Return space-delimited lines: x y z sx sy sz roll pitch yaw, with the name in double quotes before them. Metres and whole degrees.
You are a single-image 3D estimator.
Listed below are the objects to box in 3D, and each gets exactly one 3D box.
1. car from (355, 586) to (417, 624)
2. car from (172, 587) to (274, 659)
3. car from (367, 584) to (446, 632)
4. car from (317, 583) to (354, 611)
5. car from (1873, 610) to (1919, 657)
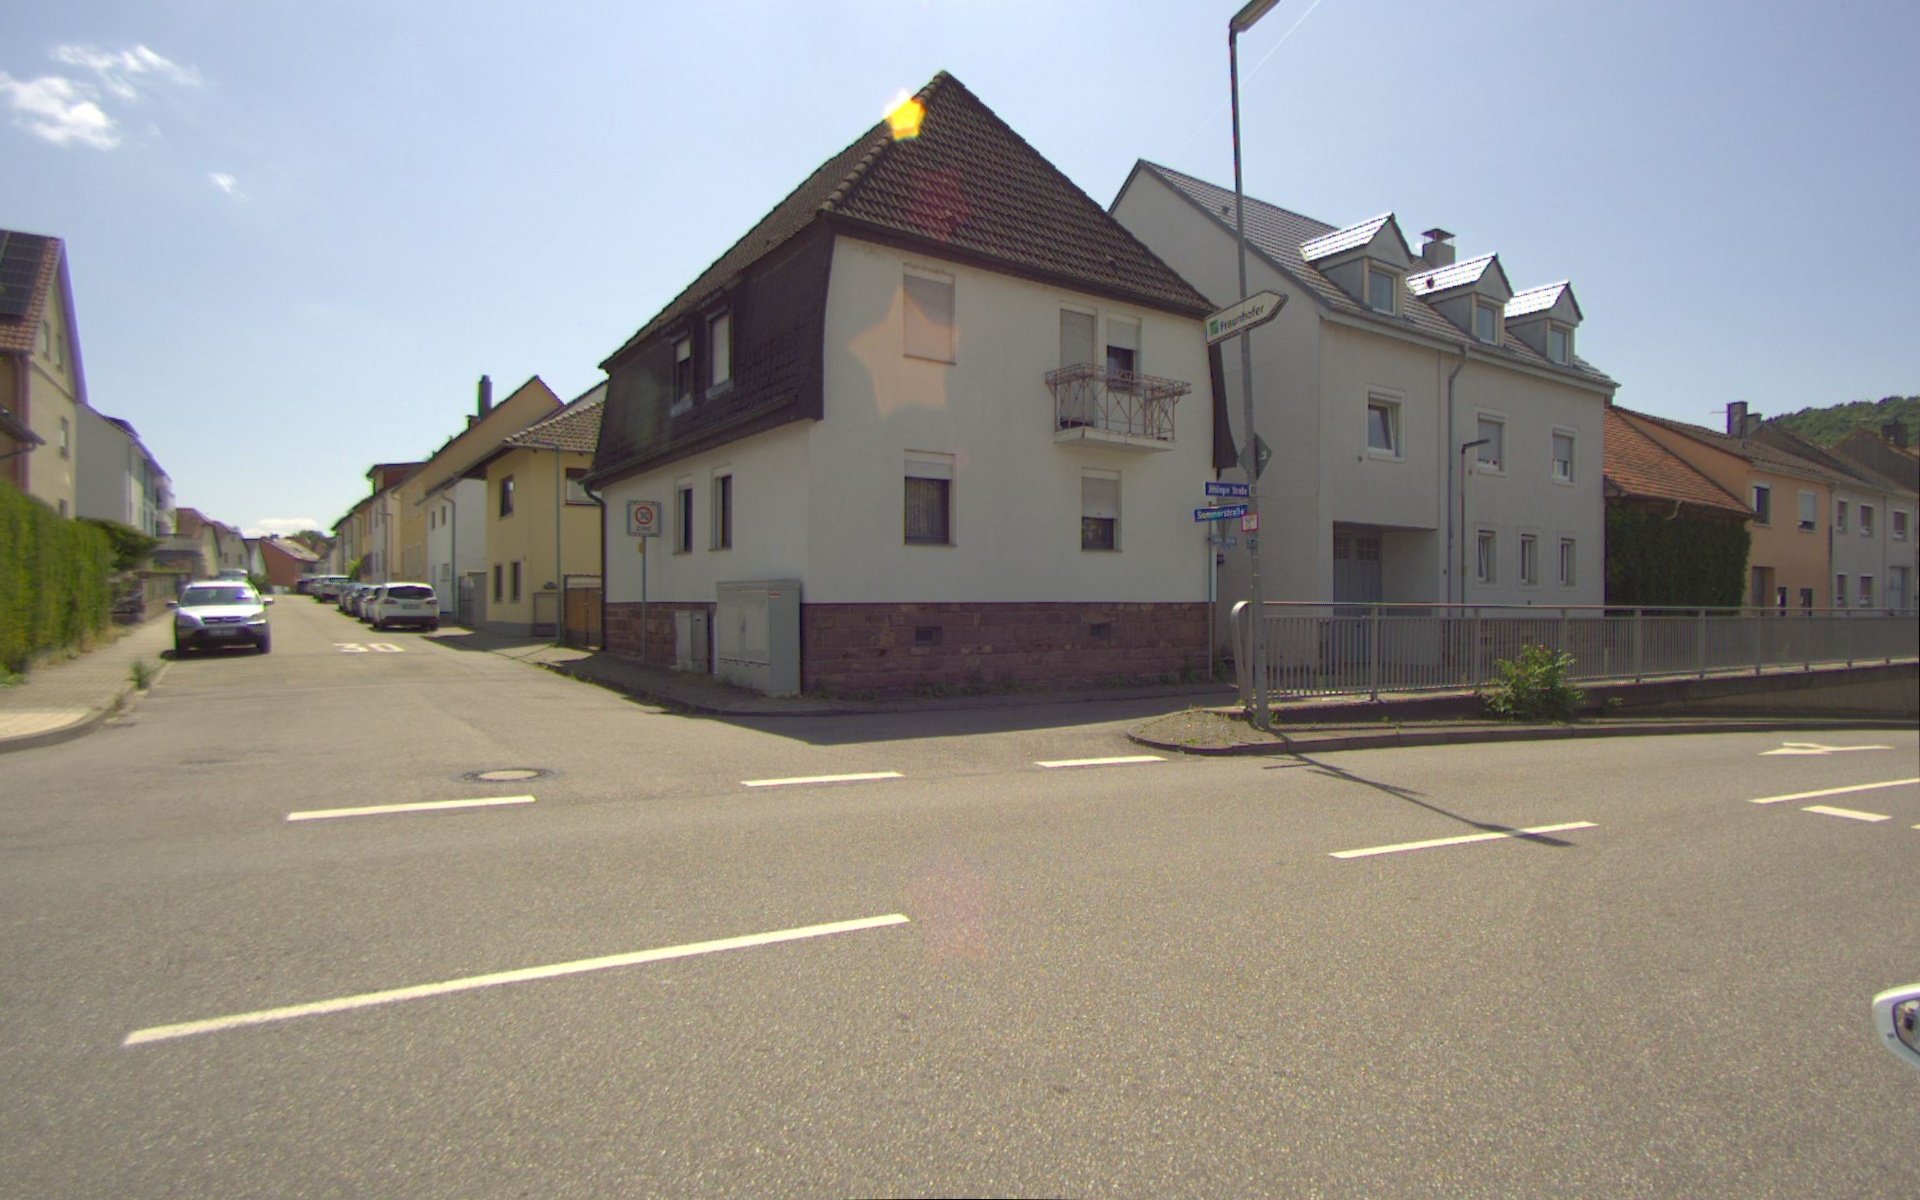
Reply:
"car" -23.754 0.171 41.488 1.760 1.461 3.958 2 0 -36
"car" -17.366 0.468 23.694 1.774 1.487 3.734 -2 2 -36
"car" -19.806 0.259 35.873 1.936 1.617 3.958 2 0 -37
"car" -38.244 -0.201 61.475 1.628 1.591 3.958 2 0 -36
"car" 30.871 1.093 31.923 4.348 1.424 1.774 2 0 -34
